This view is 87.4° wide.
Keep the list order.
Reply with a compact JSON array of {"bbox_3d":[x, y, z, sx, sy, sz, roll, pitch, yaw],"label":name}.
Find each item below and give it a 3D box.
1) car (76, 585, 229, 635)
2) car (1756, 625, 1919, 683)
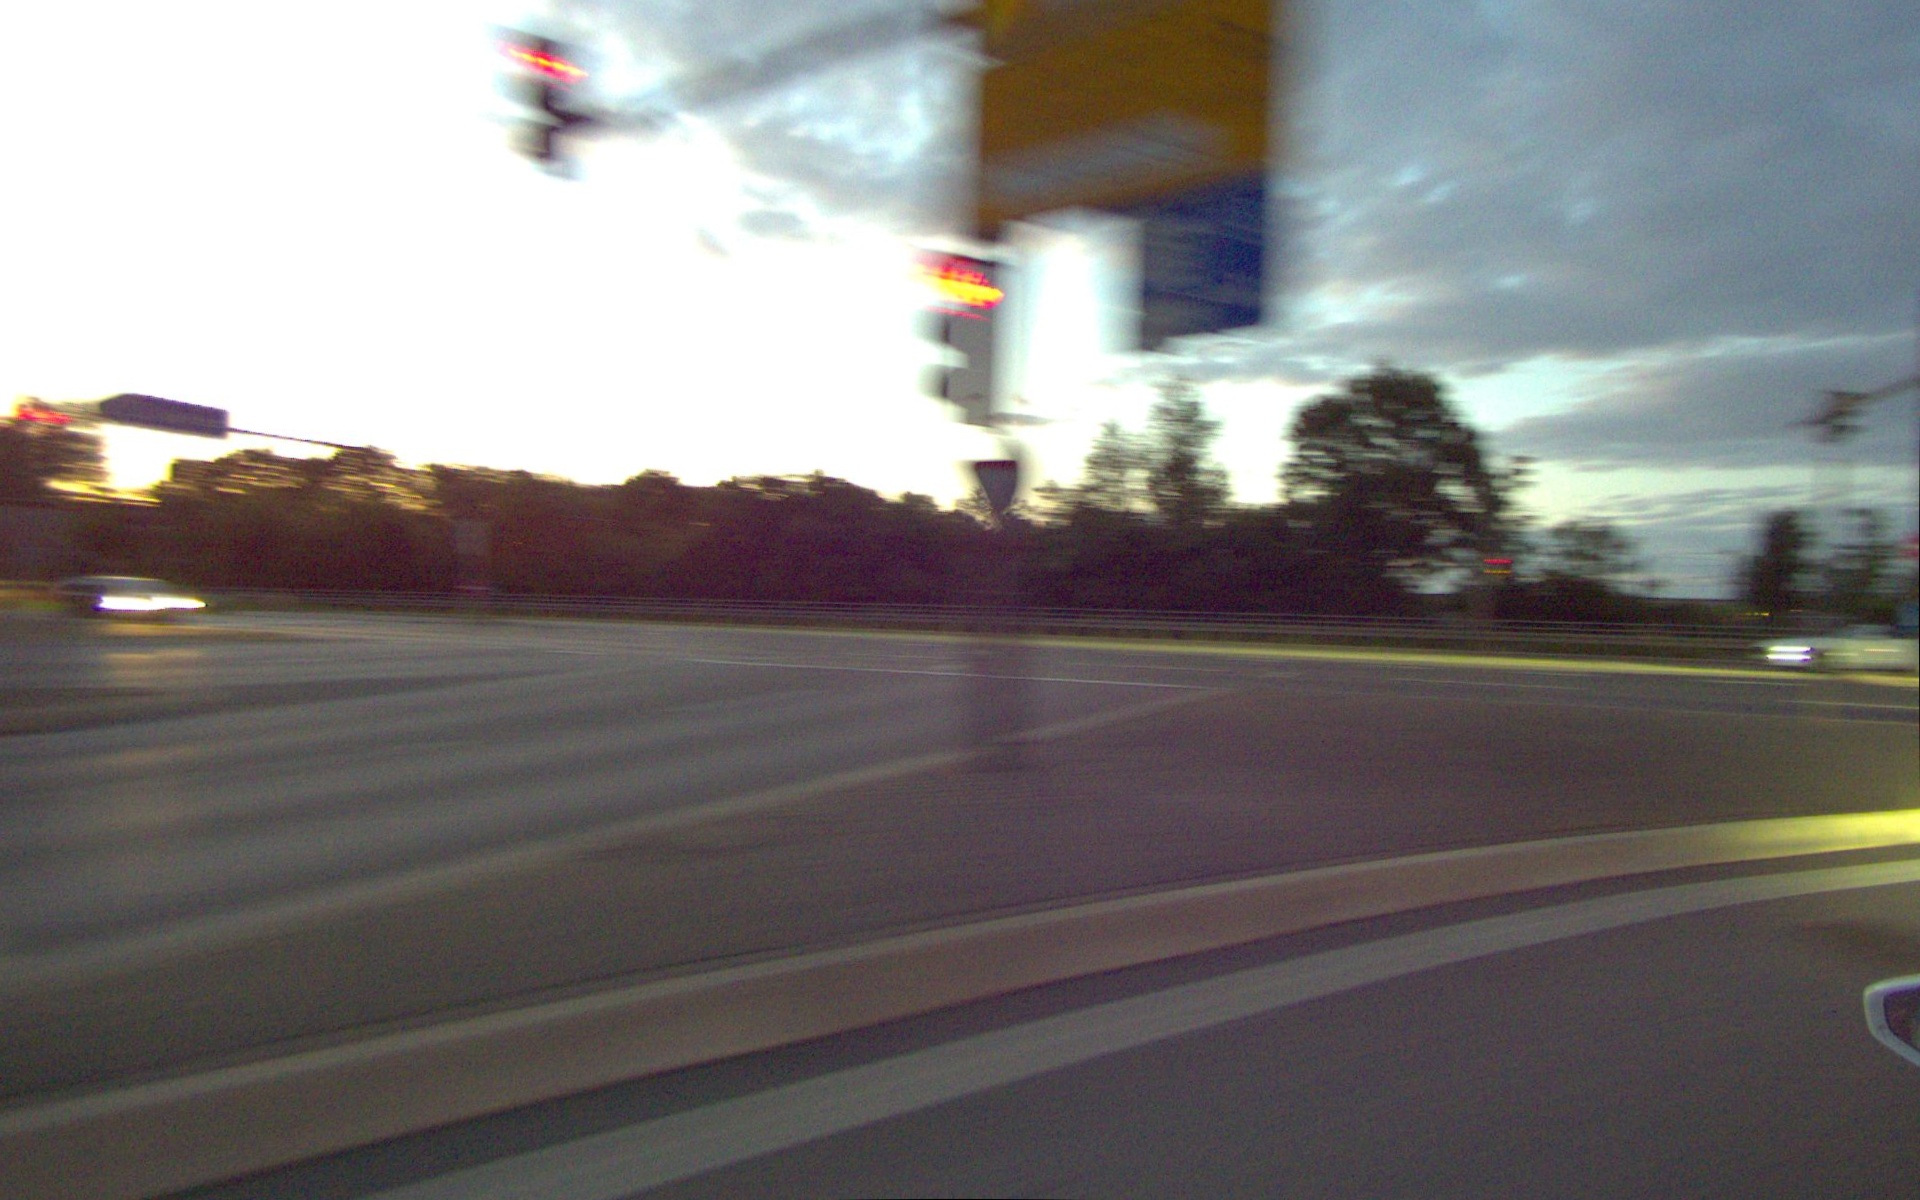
[{"bbox_3d":[-25.562,0.327,31.807,3.921,1.472,2.000,1,-2,20],"label":"car"},{"bbox_3d":[24.592,1.434,26.981,4.642,1.472,2.000,0,-1,21],"label":"car"}]
